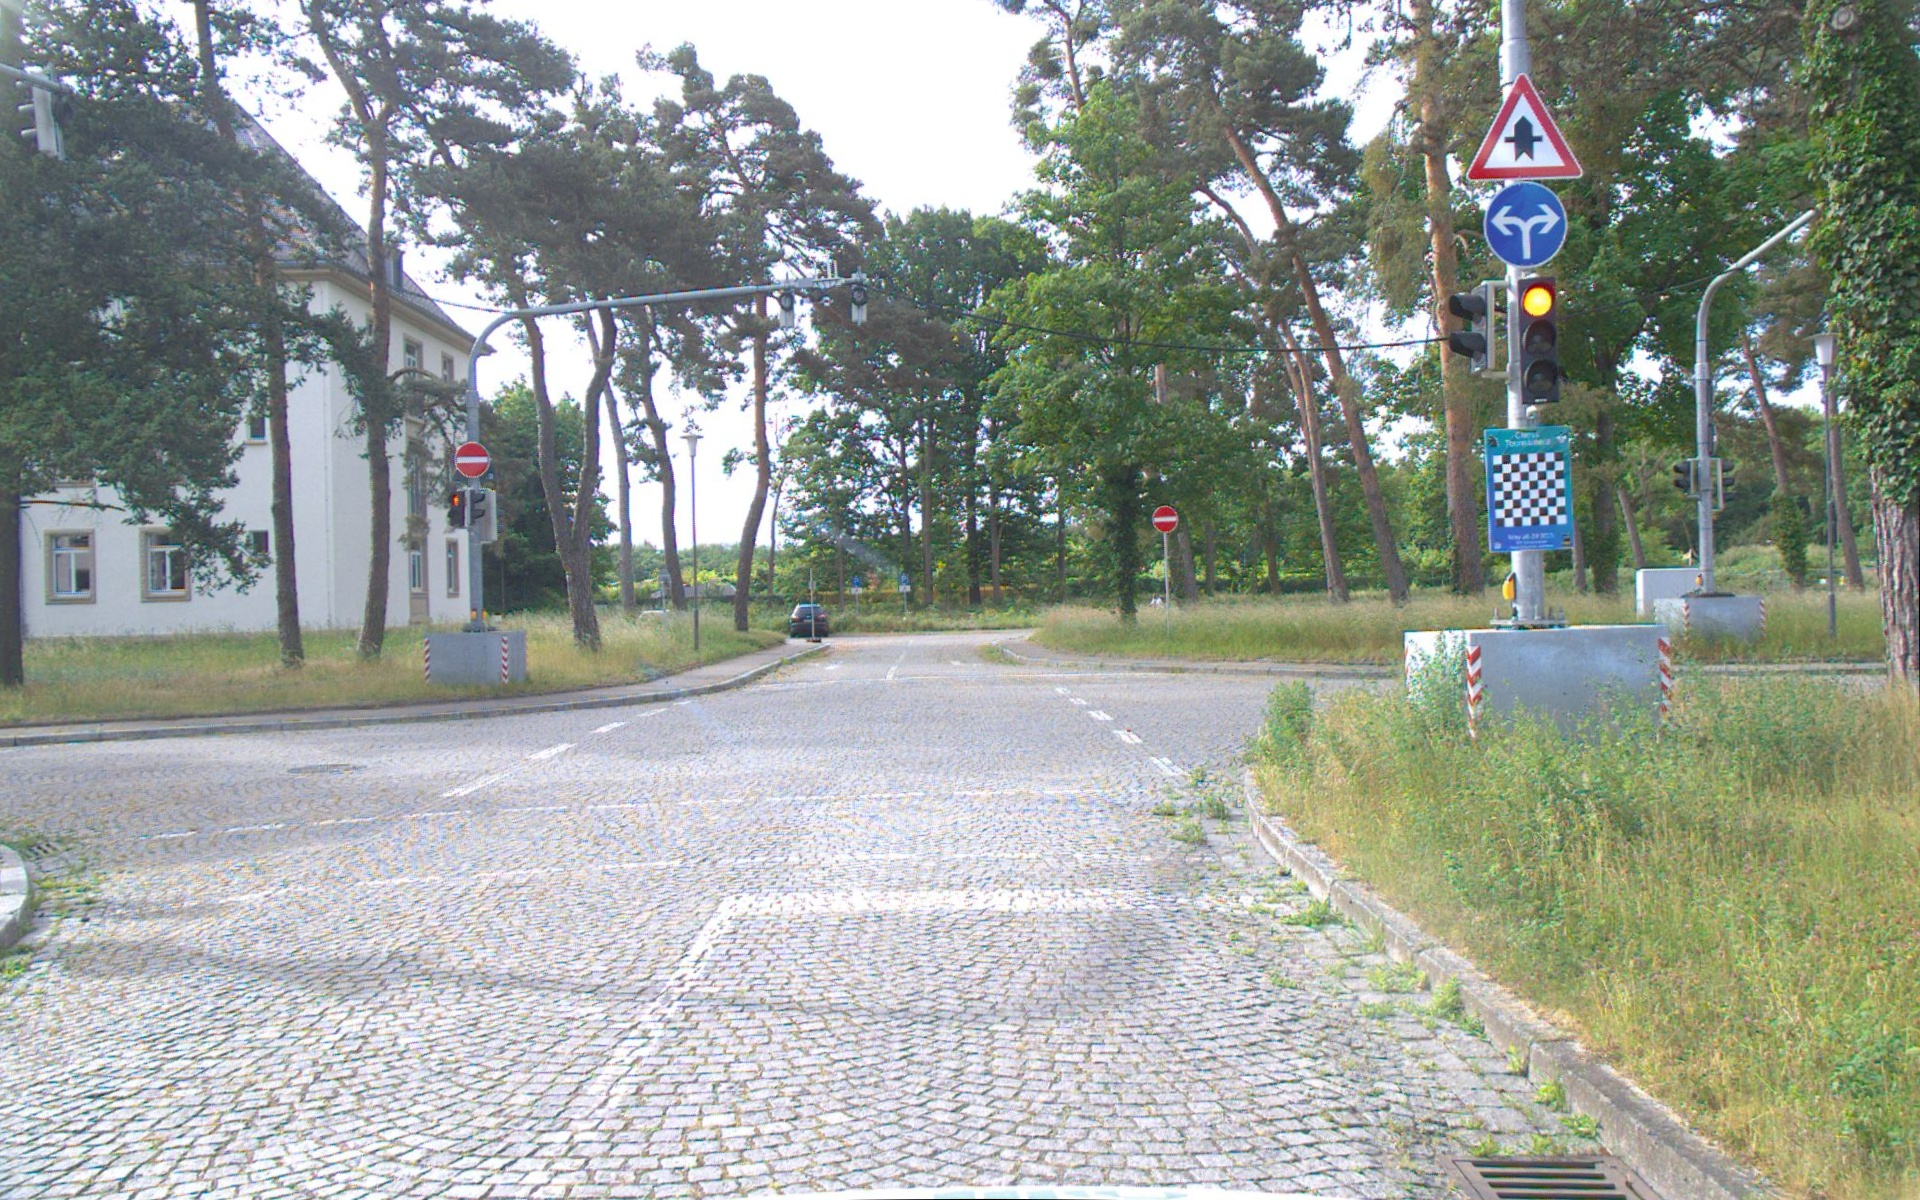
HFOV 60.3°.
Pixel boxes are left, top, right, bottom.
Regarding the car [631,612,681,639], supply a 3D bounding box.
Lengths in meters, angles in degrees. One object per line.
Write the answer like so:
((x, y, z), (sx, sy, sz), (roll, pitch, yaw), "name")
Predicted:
((-14.742, 1.229, 80.296), (1.654, 1.176, 4.000), (-2, 0, 0), "car")

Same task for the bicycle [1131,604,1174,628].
((9.330, 0.776, 80.153), (1.948, 1.114, 0.809), (-2, 0, -5), "bicycle")

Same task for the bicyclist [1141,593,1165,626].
((9.340, 0.457, 80.146), (0.955, 1.537, 0.807), (-2, 0, -4), "bicyclist")

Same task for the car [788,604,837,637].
((-7.049, 0.971, 79.300), (1.953, 1.534, 4.000), (0, 0, 0), "car")
